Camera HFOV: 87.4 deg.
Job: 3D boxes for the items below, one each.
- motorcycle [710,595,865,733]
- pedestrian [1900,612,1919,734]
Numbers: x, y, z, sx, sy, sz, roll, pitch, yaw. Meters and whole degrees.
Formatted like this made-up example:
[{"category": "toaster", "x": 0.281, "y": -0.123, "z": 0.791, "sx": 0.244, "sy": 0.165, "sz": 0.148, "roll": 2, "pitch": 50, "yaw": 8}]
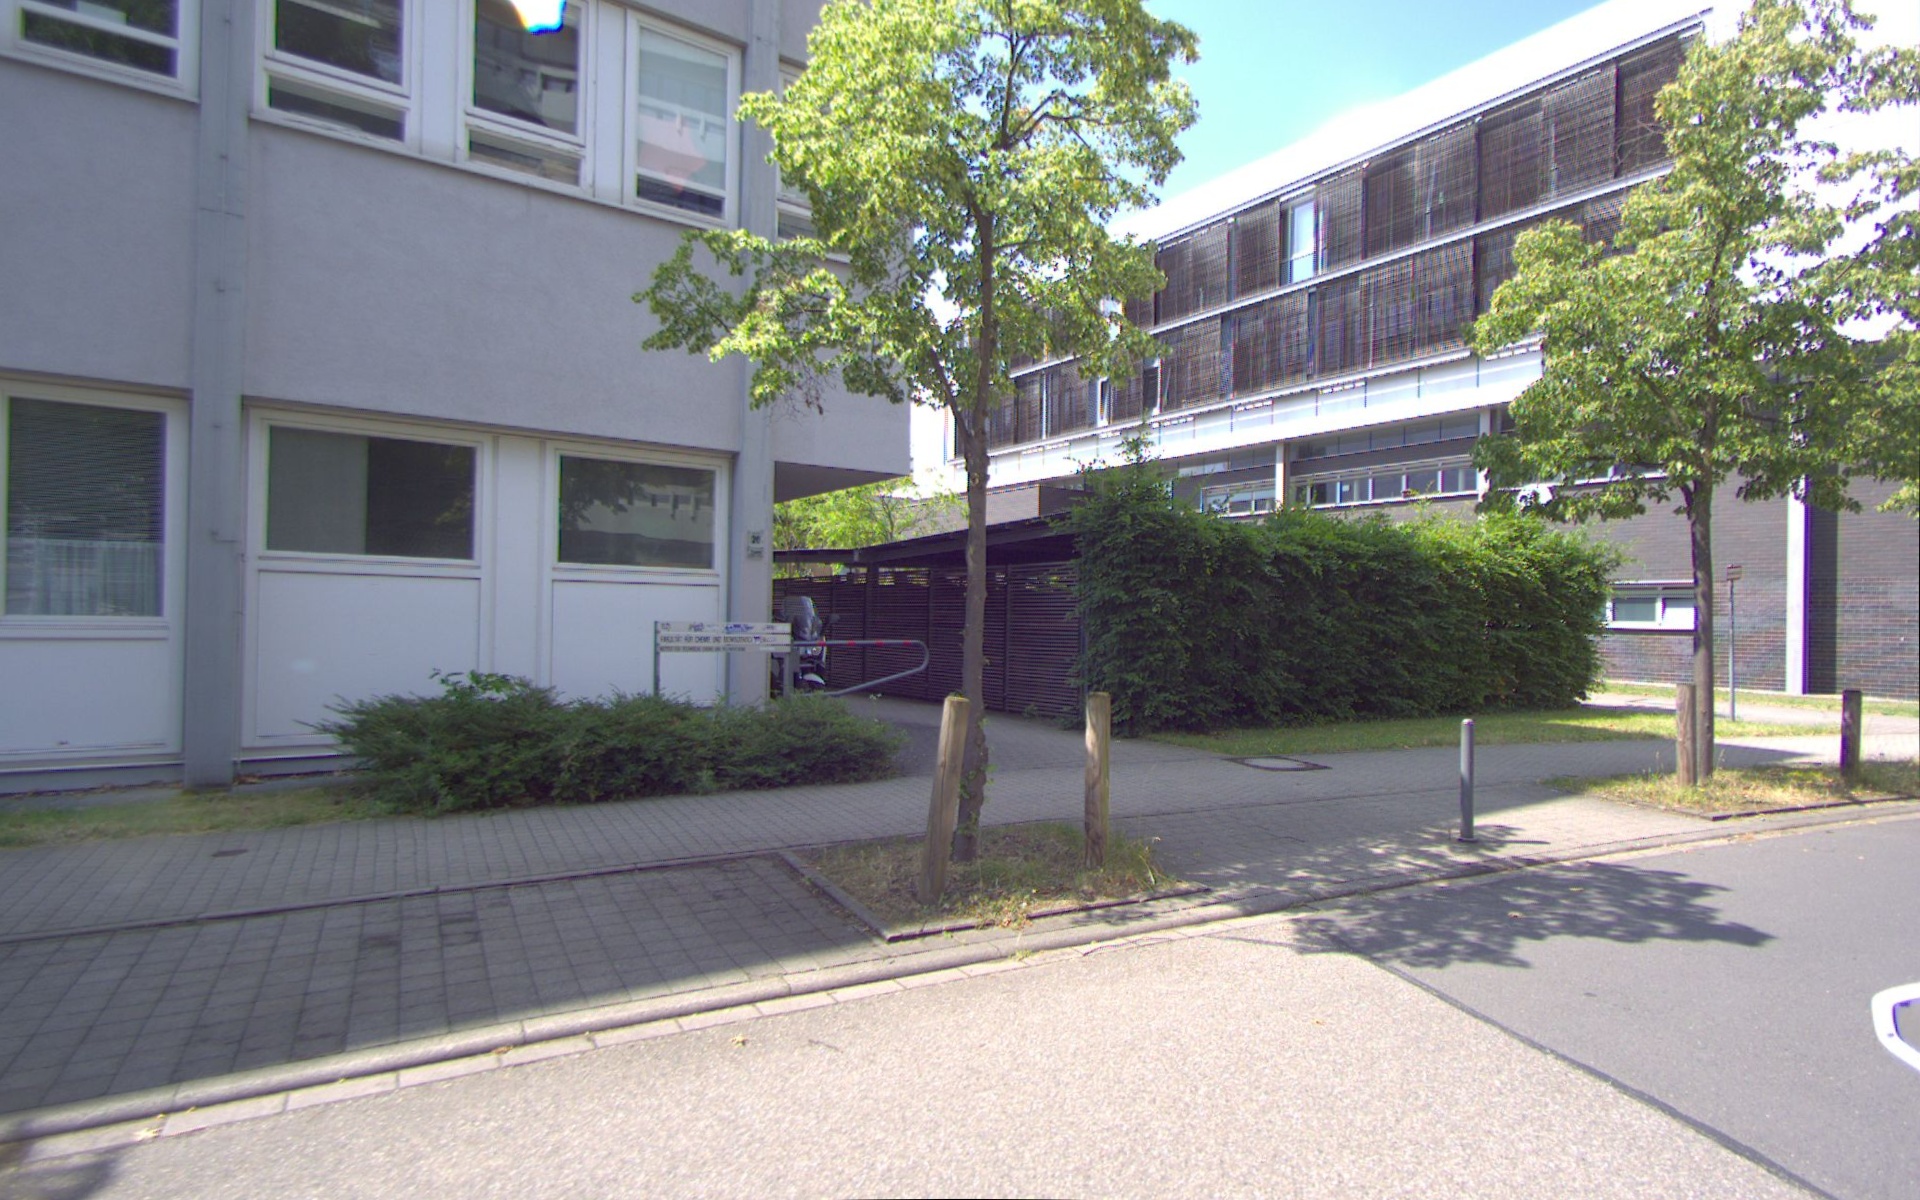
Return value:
[{"category": "motorcycle", "x": -2.206, "y": 0.743, "z": 12.609, "sx": 1.072, "sy": 1.571, "sz": 2.080, "roll": 2, "pitch": -1, "yaw": -37}, {"category": "pedestrian", "x": 14.574, "y": 1.083, "z": 14.886, "sx": 0.896, "sy": 1.788, "sz": 0.584, "roll": 1, "pitch": -1, "yaw": -17}]
